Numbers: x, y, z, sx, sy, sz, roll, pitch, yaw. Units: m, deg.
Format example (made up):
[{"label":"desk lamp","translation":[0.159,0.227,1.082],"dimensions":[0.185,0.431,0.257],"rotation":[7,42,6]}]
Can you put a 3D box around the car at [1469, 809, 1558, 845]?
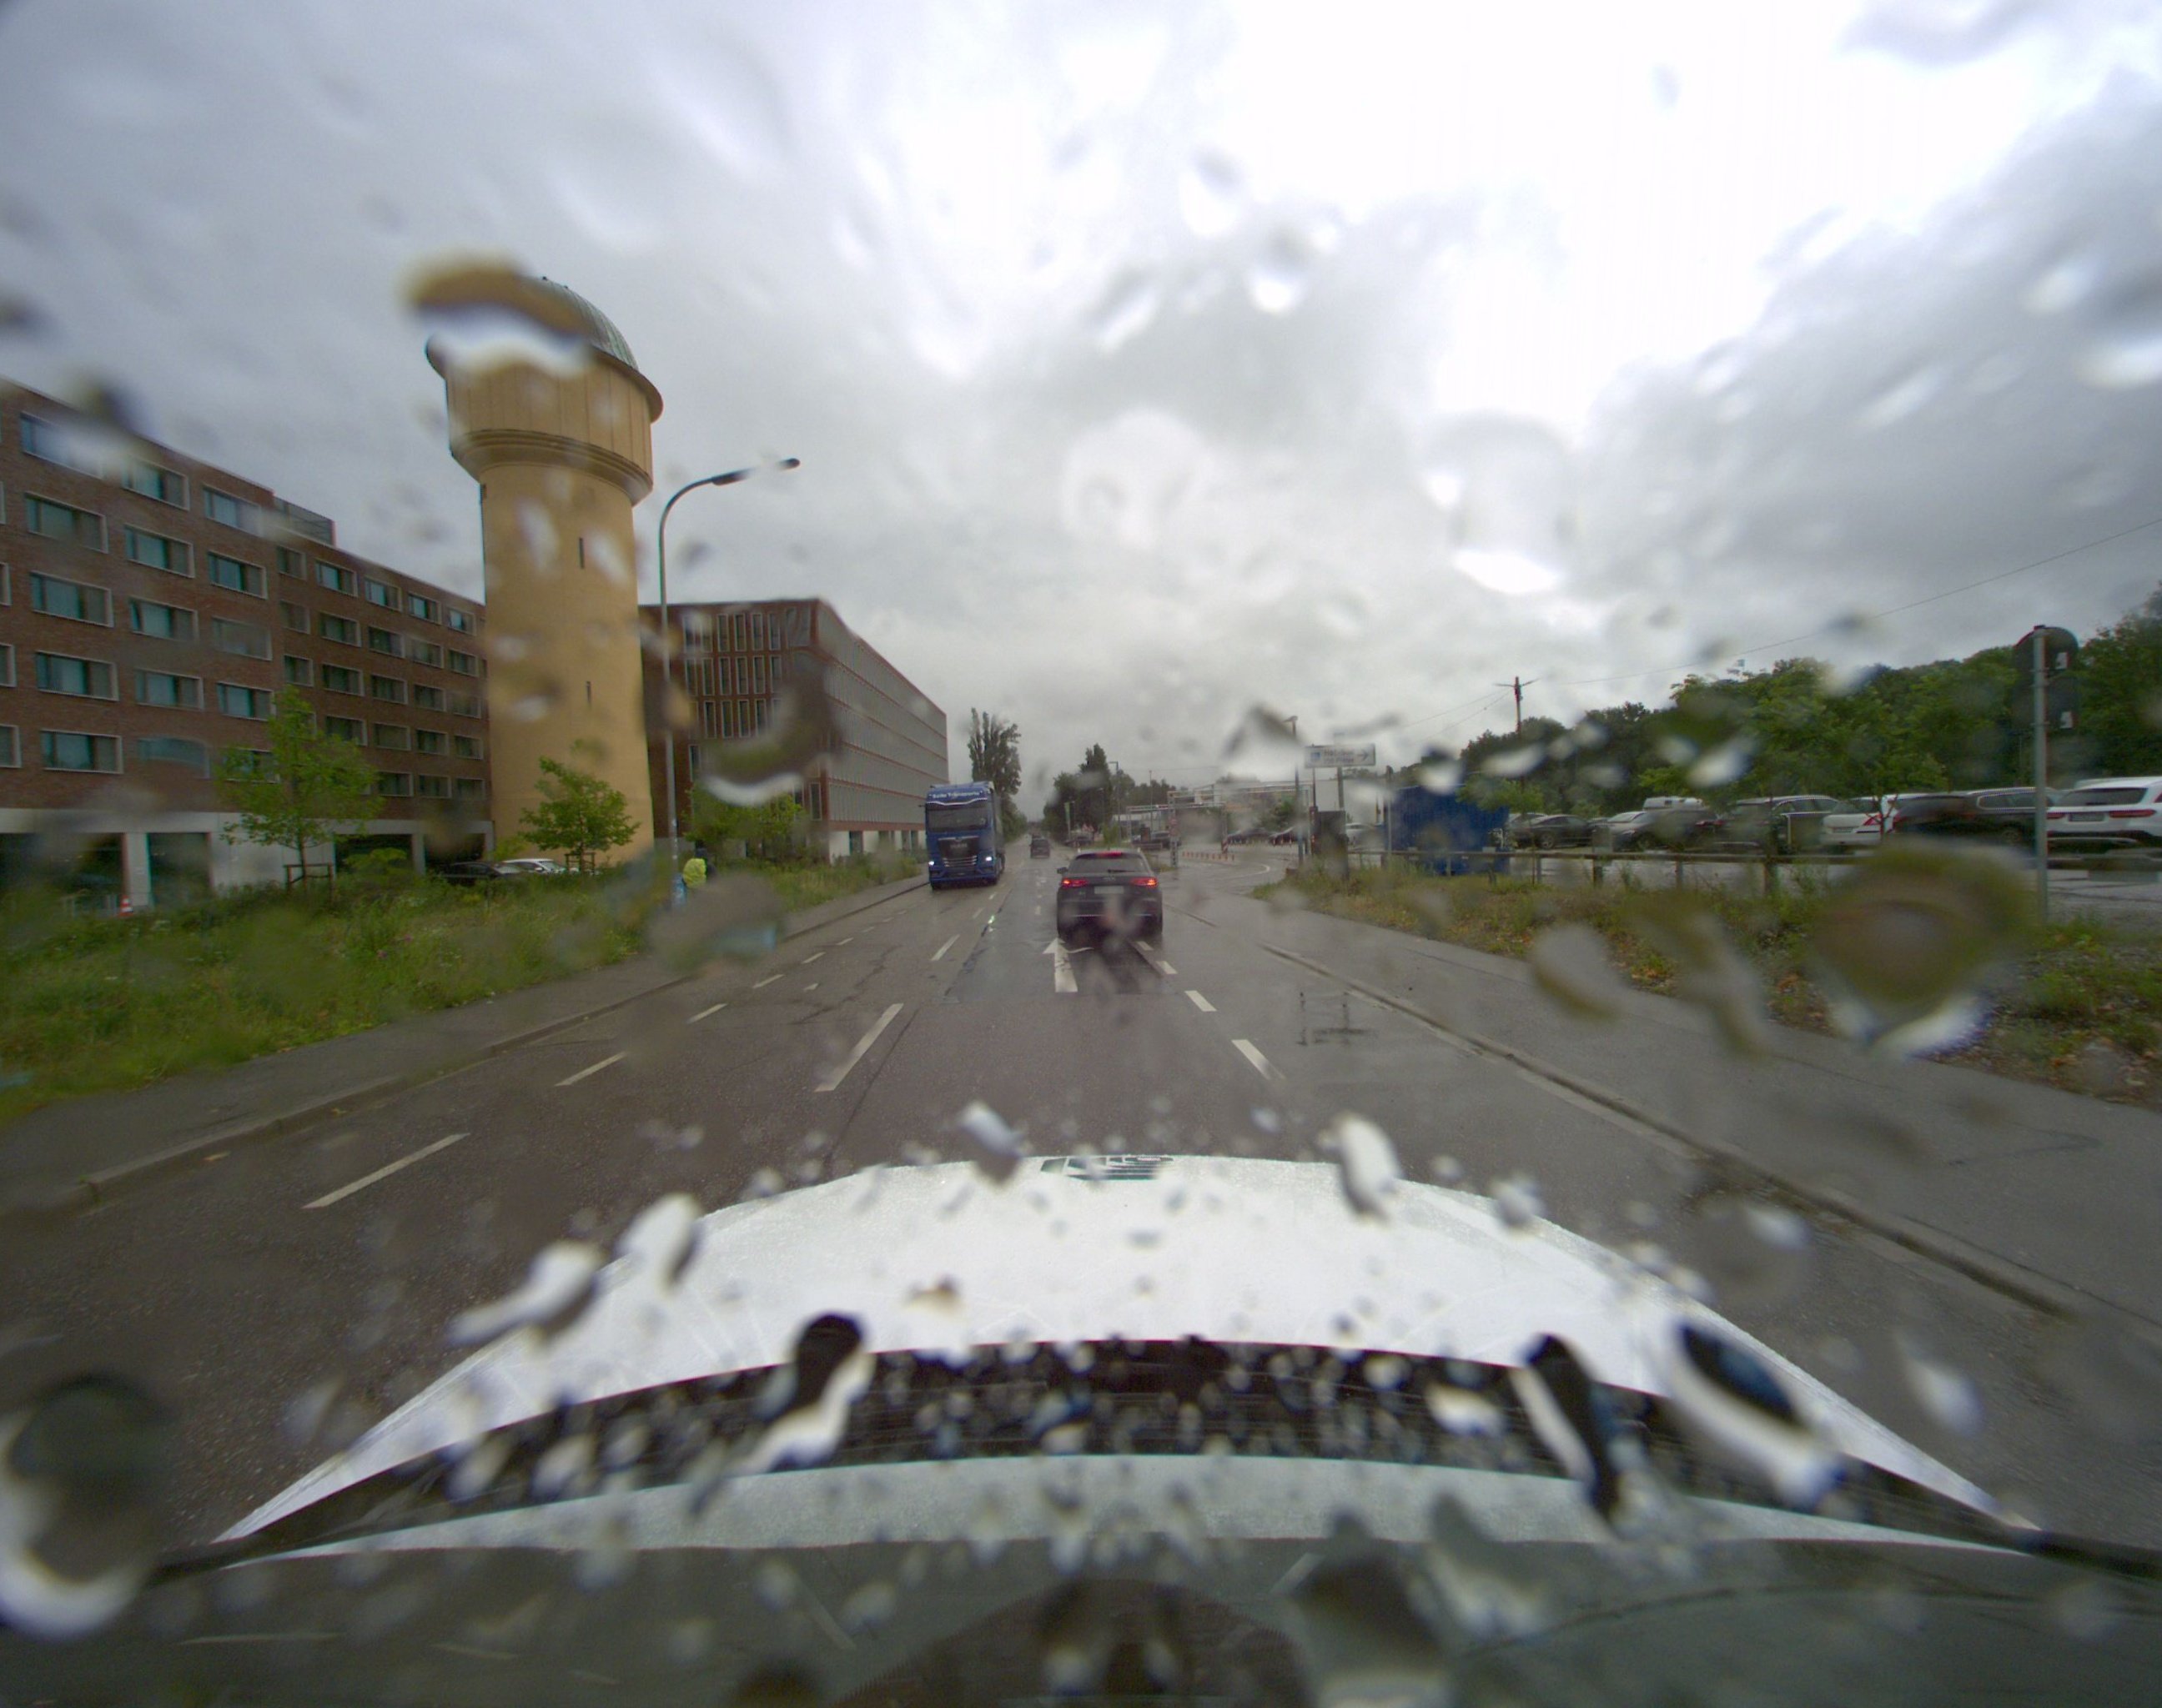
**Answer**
[{"label":"car","translation":[24.478,-1.501,46.199],"dimensions":[4.054,1.659,1.829],"rotation":[-5,0,-6]}]

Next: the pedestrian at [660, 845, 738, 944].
[{"label":"pedestrian","translation":[-7.027,0.713,15.045],"dimensions":[0.906,1.718,1.025],"rotation":[-3,1,-3]}]

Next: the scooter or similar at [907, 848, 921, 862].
[{"label":"scooter or similar","translation":[-14.926,0.097,72.785],"dimensions":[0.461,1.230,1.216],"rotation":[-2,2,39]}]

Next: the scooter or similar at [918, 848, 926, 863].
[{"label":"scooter or similar","translation":[-13.575,0.129,69.668],"dimensions":[0.465,1.230,1.318],"rotation":[-3,1,-6]}]

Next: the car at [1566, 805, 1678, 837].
[{"label":"car","translation":[24.909,-1.511,37.574],"dimensions":[4.054,1.071,1.829],"rotation":[-5,0,-6]}]

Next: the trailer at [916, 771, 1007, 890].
[{"label":"trailer","translation":[-5.450,-1.069,39.834],"dimensions":[3.288,4.653,13.711],"rotation":[-3,1,-5]}]

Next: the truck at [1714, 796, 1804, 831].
[{"label":"truck","translation":[46.629,-2.734,56.170],"dimensions":[2.064,2.137,5.087],"rotation":[-3,1,2]}]

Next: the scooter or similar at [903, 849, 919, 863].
[{"label":"scooter or similar","translation":[-14.991,0.155,71.947],"dimensions":[1.319,1.177,0.465],"rotation":[-4,1,-16]}]

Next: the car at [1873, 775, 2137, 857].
[{"label":"car","translation":[20.679,-0.815,18.344],"dimensions":[3.941,1.490,1.777],"rotation":[-4,0,-2]}]

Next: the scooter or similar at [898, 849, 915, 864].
[{"label":"scooter or similar","translation":[-15.009,0.230,70.169],"dimensions":[1.311,1.177,0.468],"rotation":[-3,1,2]}]

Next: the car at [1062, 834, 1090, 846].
[{"label":"car","translation":[-0.720,-2.114,122.906],"dimensions":[4.124,1.568,1.764],"rotation":[-3,1,-1]}]

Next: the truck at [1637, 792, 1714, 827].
[{"label":"truck","translation":[46.212,-3.422,63.469],"dimensions":[2.068,2.401,5.078],"rotation":[-3,1,-3]}]

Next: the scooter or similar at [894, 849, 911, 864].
[{"label":"scooter or similar","translation":[-15.477,0.231,70.683],"dimensions":[1.311,1.177,0.468],"rotation":[-3,1,2]}]

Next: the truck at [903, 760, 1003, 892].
[{"label":"truck","translation":[-4.914,-1.076,32.563],"dimensions":[3.289,4.653,6.023],"rotation":[-3,1,-5]}]

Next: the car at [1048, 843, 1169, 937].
[{"label":"car","translation":[0.477,0.540,14.992],"dimensions":[1.888,1.456,4.228],"rotation":[-1,1,1]}]

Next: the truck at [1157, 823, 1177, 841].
[{"label":"truck","translation":[13.859,-3.544,131.869],"dimensions":[2.294,2.659,7.416],"rotation":[-4,2,0]}]

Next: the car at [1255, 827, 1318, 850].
[{"label":"car","translation":[17.040,-1.261,67.623],"dimensions":[4.618,1.716,2.013],"rotation":[-2,0,-9]}]

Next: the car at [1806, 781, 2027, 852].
[{"label":"car","translation":[21.577,-0.929,21.138],"dimensions":[3.941,1.490,1.777],"rotation":[-4,0,-2]}]

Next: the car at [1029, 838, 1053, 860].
[{"label":"car","translation":[-3.716,-0.507,75.334],"dimensions":[1.990,1.910,4.195],"rotation":[-3,1,-4]}]

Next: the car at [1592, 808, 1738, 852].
[{"label":"car","translation":[20.407,-0.824,28.588],"dimensions":[3.873,1.221,1.648],"rotation":[-4,0,1]}]

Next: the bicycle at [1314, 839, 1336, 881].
[{"label":"bicycle","translation":[6.911,0.153,23.020],"dimensions":[0.503,1.084,1.711],"rotation":[-3,1,18]}]

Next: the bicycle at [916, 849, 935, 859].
[{"label":"bicycle","translation":[-16.227,-0.006,84.769],"dimensions":[1.856,1.077,0.543],"rotation":[-1,1,-5]}]

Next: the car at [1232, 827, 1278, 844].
[{"label":"car","translation":[16.974,-1.840,79.513],"dimensions":[3.977,1.485,1.998],"rotation":[-2,0,-3]}]

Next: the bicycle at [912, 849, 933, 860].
[{"label":"bicycle","translation":[-16.028,0.038,82.325],"dimensions":[1.945,1.077,0.619],"rotation":[-1,1,-5]}]

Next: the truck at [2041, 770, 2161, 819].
[{"label":"truck","translation":[46.716,-2.647,36.081],"dimensions":[2.076,2.013,5.276],"rotation":[-3,2,-2]}]

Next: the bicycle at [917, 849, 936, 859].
[{"label":"bicycle","translation":[-16.240,-0.015,85.632],"dimensions":[1.856,1.077,0.543],"rotation":[-1,1,-5]}]

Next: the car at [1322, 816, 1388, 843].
[{"label":"car","translation":[18.911,-1.676,56.238],"dimensions":[3.818,1.484,1.927],"rotation":[-5,0,-1]}]

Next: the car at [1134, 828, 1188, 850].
[{"label":"car","translation":[7.240,-1.326,73.840],"dimensions":[4.665,1.735,2.128],"rotation":[-3,0,1]}]

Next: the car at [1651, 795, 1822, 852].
[{"label":"car","translation":[20.901,-0.948,26.087],"dimensions":[3.941,1.490,1.869],"rotation":[-4,0,-2]}]

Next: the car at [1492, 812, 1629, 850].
[{"label":"car","translation":[19.918,-0.936,33.920],"dimensions":[4.579,1.221,1.975],"rotation":[-4,0,-5]}]

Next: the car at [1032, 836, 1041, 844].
[{"label":"car","translation":[-9.887,-3.039,181.477],"dimensions":[1.725,1.686,3.896],"rotation":[-2,1,-1]}]

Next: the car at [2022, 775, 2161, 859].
[{"label":"car","translation":[20.976,-0.788,15.563],"dimensions":[3.941,1.490,1.777],"rotation":[-4,0,-2]}]

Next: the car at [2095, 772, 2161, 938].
[{"label":"car","translation":[10.955,-0.052,6.463],"dimensions":[3.766,1.393,1.902],"rotation":[-2,0,-6]}]

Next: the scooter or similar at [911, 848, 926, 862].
[{"label":"scooter or similar","translation":[-14.716,0.064,73.718],"dimensions":[0.461,1.208,1.216],"rotation":[-2,2,39]}]

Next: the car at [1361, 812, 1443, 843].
[{"label":"car","translation":[19.090,-1.555,48.525],"dimensions":[4.033,1.484,1.927],"rotation":[-5,0,-1]}]

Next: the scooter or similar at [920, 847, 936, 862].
[{"label":"scooter or similar","translation":[-13.572,0.044,72.427],"dimensions":[1.304,1.230,0.470],"rotation":[-3,1,26]}]

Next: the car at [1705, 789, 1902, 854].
[{"label":"car","translation":[20.516,-0.895,23.237],"dimensions":[3.941,1.490,1.869],"rotation":[-4,0,-2]}]

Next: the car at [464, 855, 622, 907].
[{"label":"car","translation":[-20.340,0.983,30.975],"dimensions":[4.516,1.641,1.996],"rotation":[-3,1,-6]}]

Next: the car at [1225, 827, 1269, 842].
[{"label":"car","translation":[16.692,-1.948,81.912],"dimensions":[3.977,1.409,1.998],"rotation":[-2,0,-3]}]
